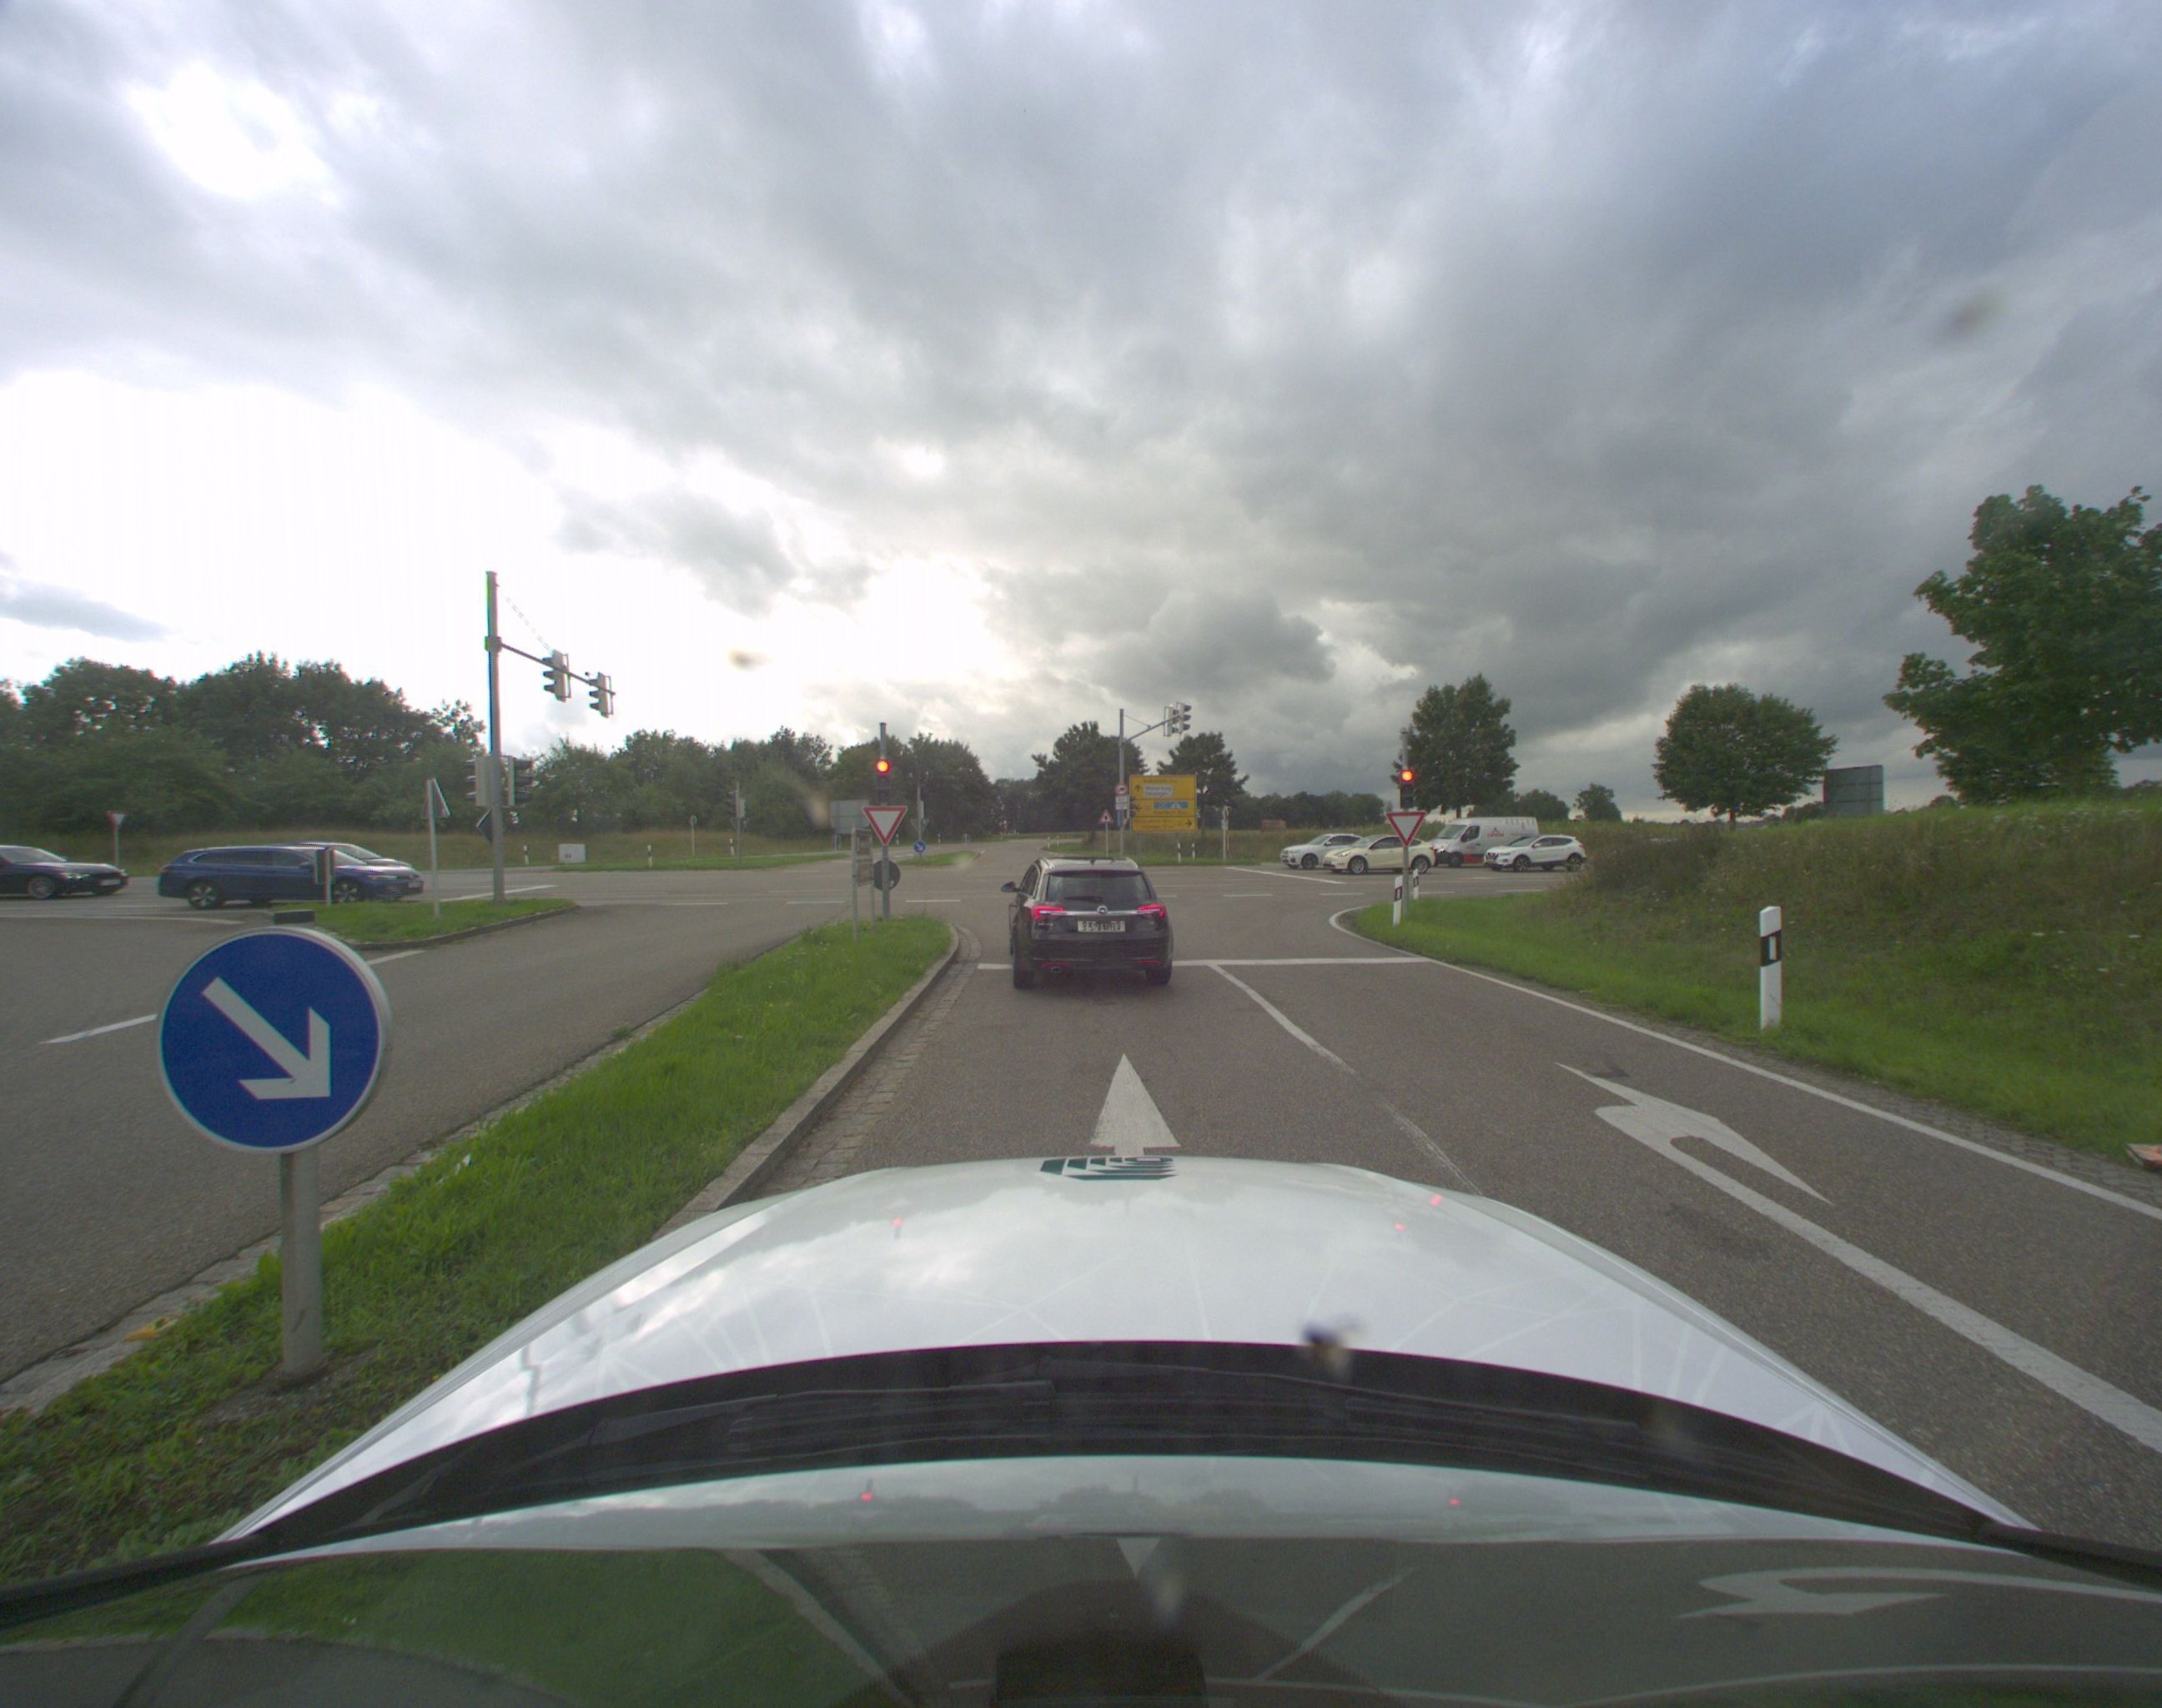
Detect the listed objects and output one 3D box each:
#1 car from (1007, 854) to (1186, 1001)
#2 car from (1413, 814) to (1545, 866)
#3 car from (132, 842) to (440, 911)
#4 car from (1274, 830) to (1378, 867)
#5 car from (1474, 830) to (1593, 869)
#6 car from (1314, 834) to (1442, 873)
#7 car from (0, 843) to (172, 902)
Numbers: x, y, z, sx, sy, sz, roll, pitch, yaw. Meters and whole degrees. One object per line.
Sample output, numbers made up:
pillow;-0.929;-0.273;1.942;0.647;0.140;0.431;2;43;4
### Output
car;-0.020;0.749;10.502;1.805;1.450;4.264;0;0;-6
car;19.495;-0.686;39.969;5.494;2.441;2.390;0;0;-10
car;-19.560;0.505;20.345;5.115;1.534;2.043;-1;2;-13
car;11.407;-0.255;38.075;4.262;1.629;1.993;-1;0;-11
car;19.929;-0.212;35.939;4.309;1.629;1.993;0;0;-10
car;12.448;-0.043;34.295;4.734;1.564;1.993;-1;0;-11
car;-28.749;0.470;22.241;4.869;1.483;2.047;0;3;-12
